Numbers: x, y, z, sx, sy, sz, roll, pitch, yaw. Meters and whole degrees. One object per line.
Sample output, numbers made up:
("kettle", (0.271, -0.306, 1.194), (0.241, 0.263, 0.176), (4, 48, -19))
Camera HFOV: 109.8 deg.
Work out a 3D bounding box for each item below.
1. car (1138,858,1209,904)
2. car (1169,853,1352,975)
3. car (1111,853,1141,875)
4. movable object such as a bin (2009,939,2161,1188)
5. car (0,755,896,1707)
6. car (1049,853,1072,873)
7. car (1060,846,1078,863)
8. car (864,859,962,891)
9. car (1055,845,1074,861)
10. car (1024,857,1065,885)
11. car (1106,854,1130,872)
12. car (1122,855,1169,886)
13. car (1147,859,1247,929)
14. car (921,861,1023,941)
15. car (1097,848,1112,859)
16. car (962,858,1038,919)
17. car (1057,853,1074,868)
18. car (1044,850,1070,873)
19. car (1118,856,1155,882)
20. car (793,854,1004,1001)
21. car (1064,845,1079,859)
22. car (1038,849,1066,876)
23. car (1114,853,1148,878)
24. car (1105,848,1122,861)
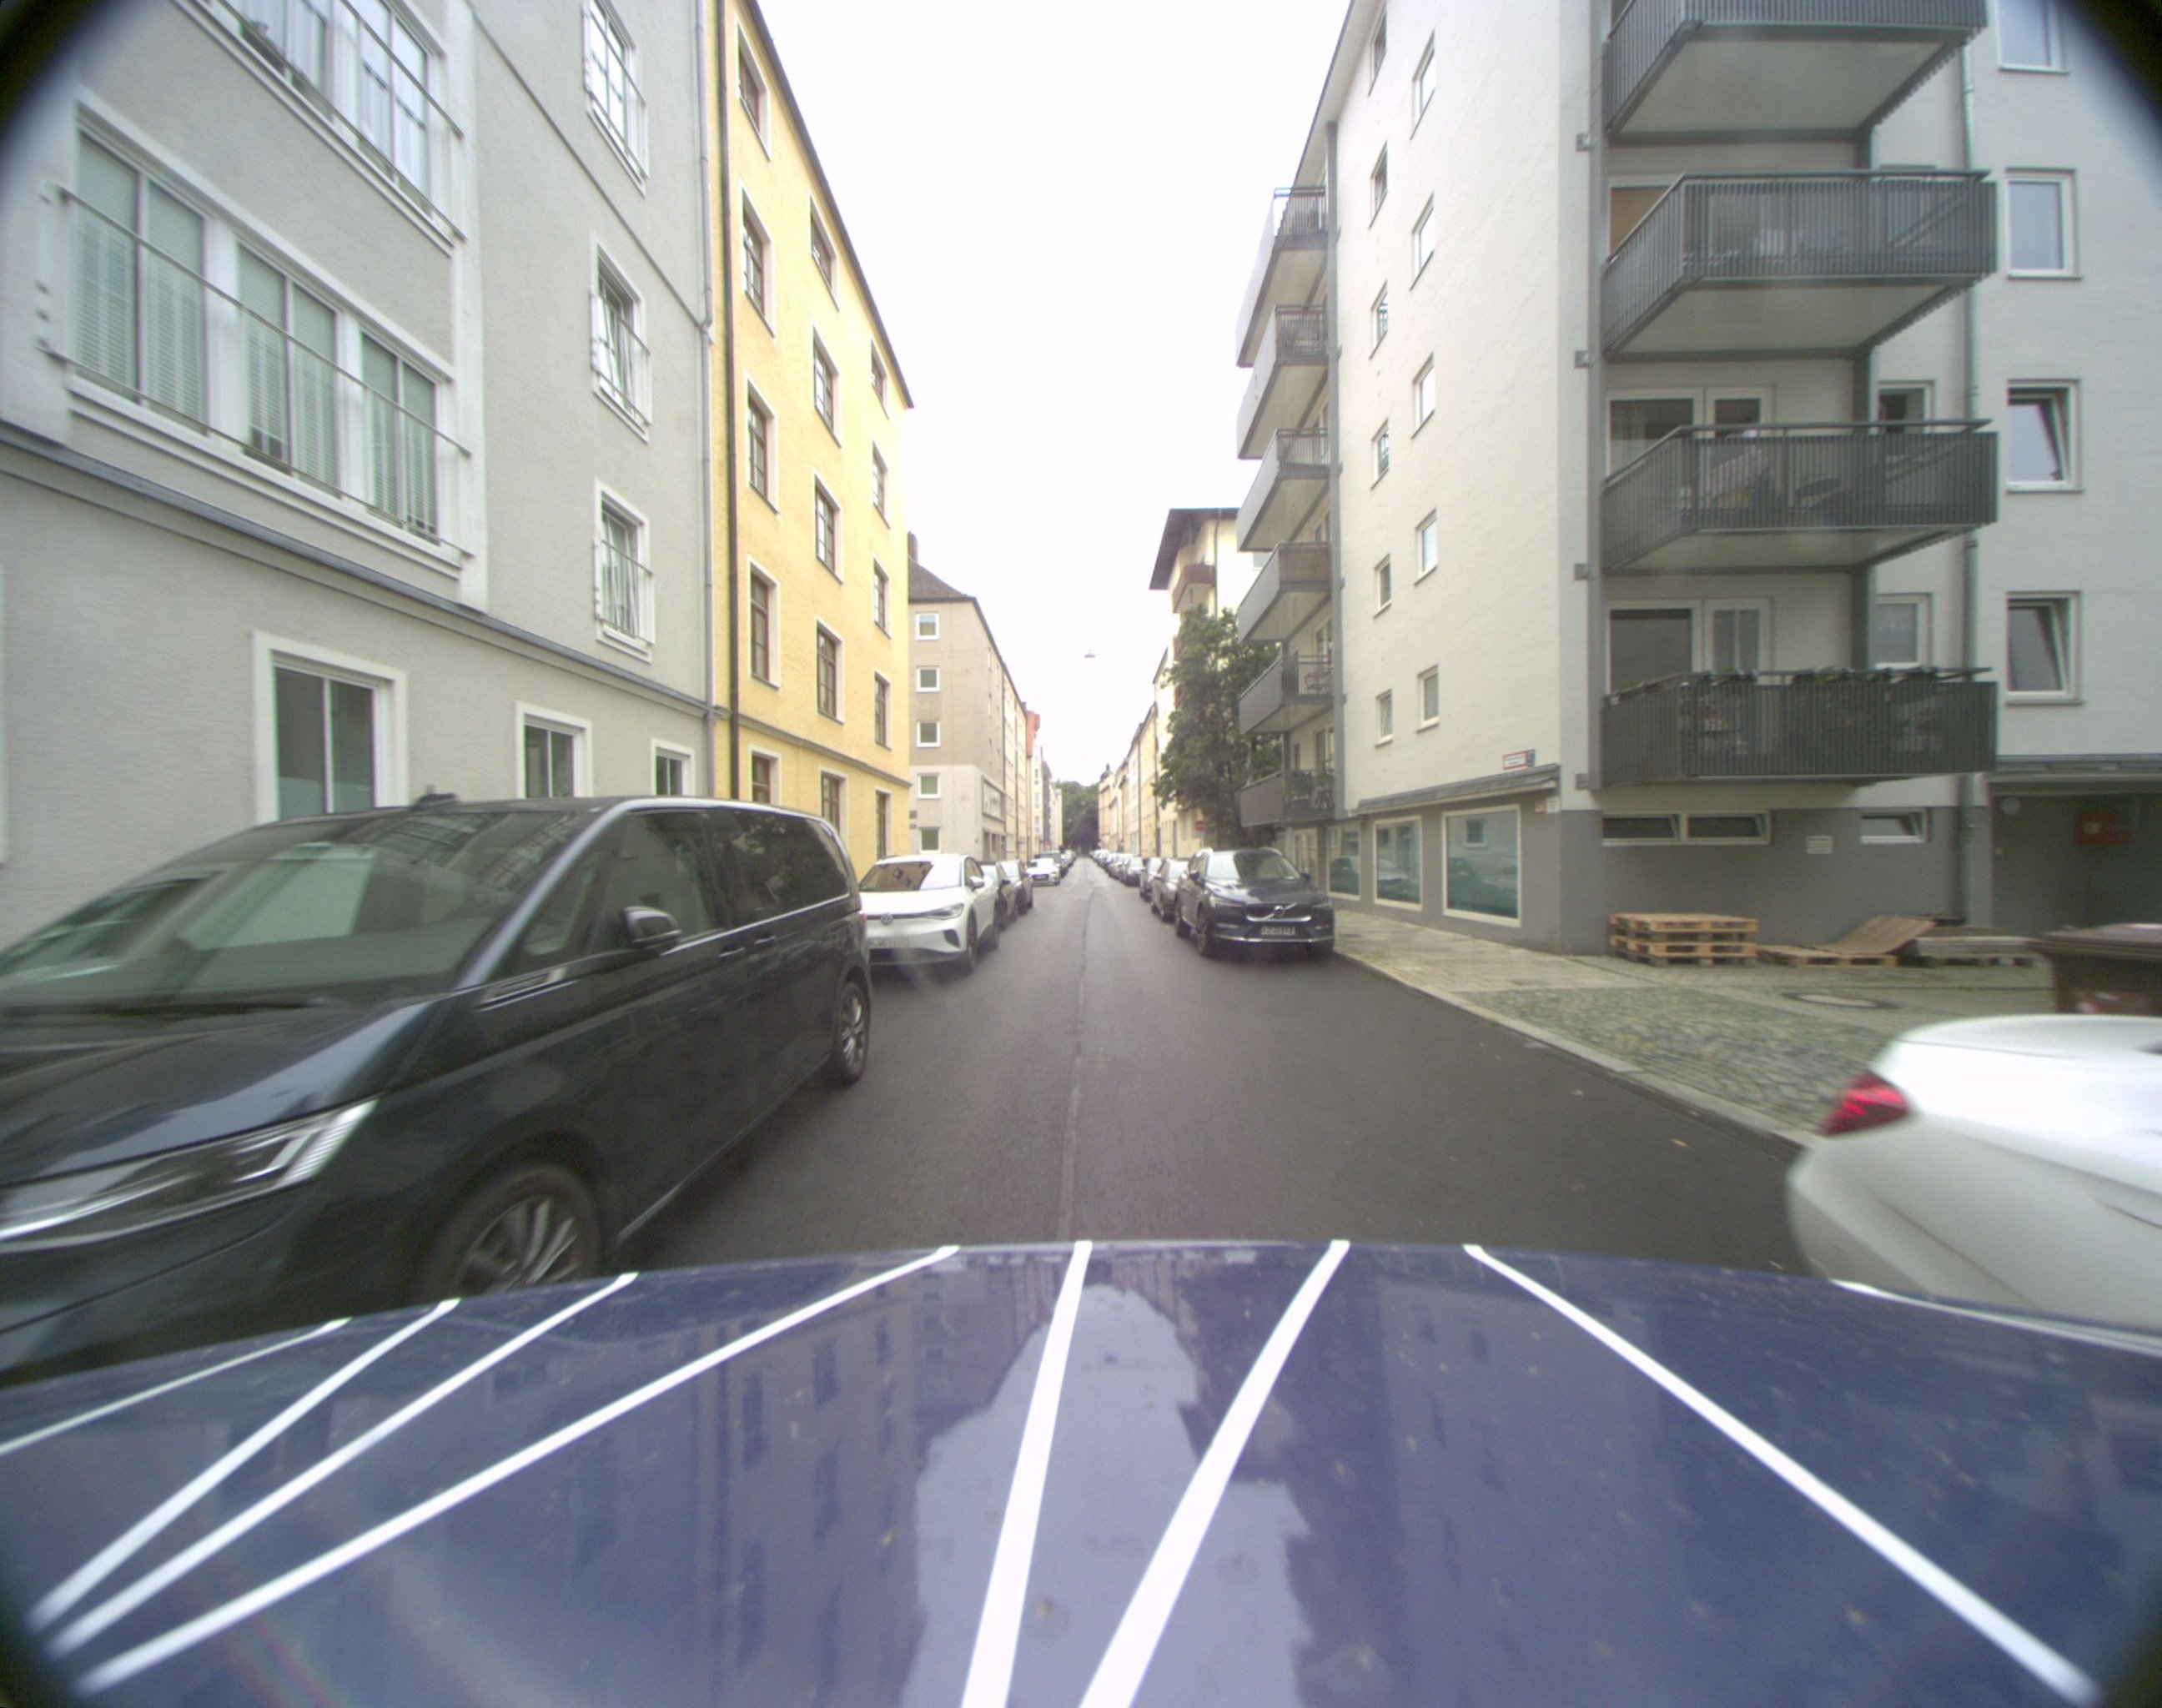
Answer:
("car", (3.097, 0.865, 26.314), (1.972, 1.391, 4.296), (-1, 1, 0))
("car", (2.692, 0.810, 12.562), (1.972, 1.597, 4.540), (-1, 1, 0))
("car", (3.154, 0.703, 54.348), (1.896, 1.444, 4.296), (-1, 1, 0))
("movable object such as a bin", (5.348, 1.001, 3.733), (0.770, 1.070, 0.678), (-1, 1, -5))
("car", (-2.558, 0.791, 3.548), (1.987, 1.828, 5.183), (-3, 1, 0))
("car", (-1.785, 0.768, 66.840), (1.896, 1.621, 4.296), (-1, 1, 0))
("car", (-1.431, 0.047, 93.037), (1.998, 2.002, 4.564), (-1, 1, 0))
("car", (-7.735, 0.958, 35.314), (4.161, 1.373, 1.972), (-1, 1, -4))
("car", (-1.701, -0.102, 78.988), (1.896, 1.621, 4.296), (-1, 1, 0))
("car", (-1.941, 0.893, 41.321), (1.972, 1.369, 4.296), (-1, 1, 0))
("car", (3.216, 0.735, 66.440), (1.896, 1.444, 4.296), (-1, 1, 0))
("car", (3.130, 0.783, 37.805), (1.972, 1.369, 4.296), (-1, 1, 0))
("car", (2.695, 0.874, 18.560), (1.818, 1.433, 4.296), (-1, 1, 0))
("car", (-2.315, 0.953, 17.093), (1.691, 1.496, 3.856), (-1, 1, 0))
("car", (3.291, -0.131, 107.533), (1.896, 1.444, 4.296), (-1, 1, 0))
("car", (-2.199, 0.896, 21.587), (1.691, 1.496, 3.856), (-1, 1, 0))
("car", (-1.775, 0.759, 87.646), (1.896, 1.621, 4.296), (-1, 1, 0))
("car", (-1.882, 0.572, 61.114), (1.896, 1.751, 4.296), (-1, 1, 0))
("car", (3.113, 0.817, 43.336), (1.769, 1.369, 4.296), (-1, 1, 0))
("car", (-2.381, 0.869, 11.228), (1.966, 1.665, 4.541), (-1, 1, 0))
("car", (-1.388, -0.299, 107.956), (1.998, 2.002, 4.564), (-1, 1, 0))
("car", (-2.105, 0.575, 56.310), (1.896, 1.859, 4.296), (-1, 1, 0))
("car", (3.179, 0.704, 48.769), (1.896, 1.444, 4.296), (-1, 1, 0))
("car", (3.950, 0.034, 92.503), (1.896, 1.444, 4.296), (-1, 1, 0))
